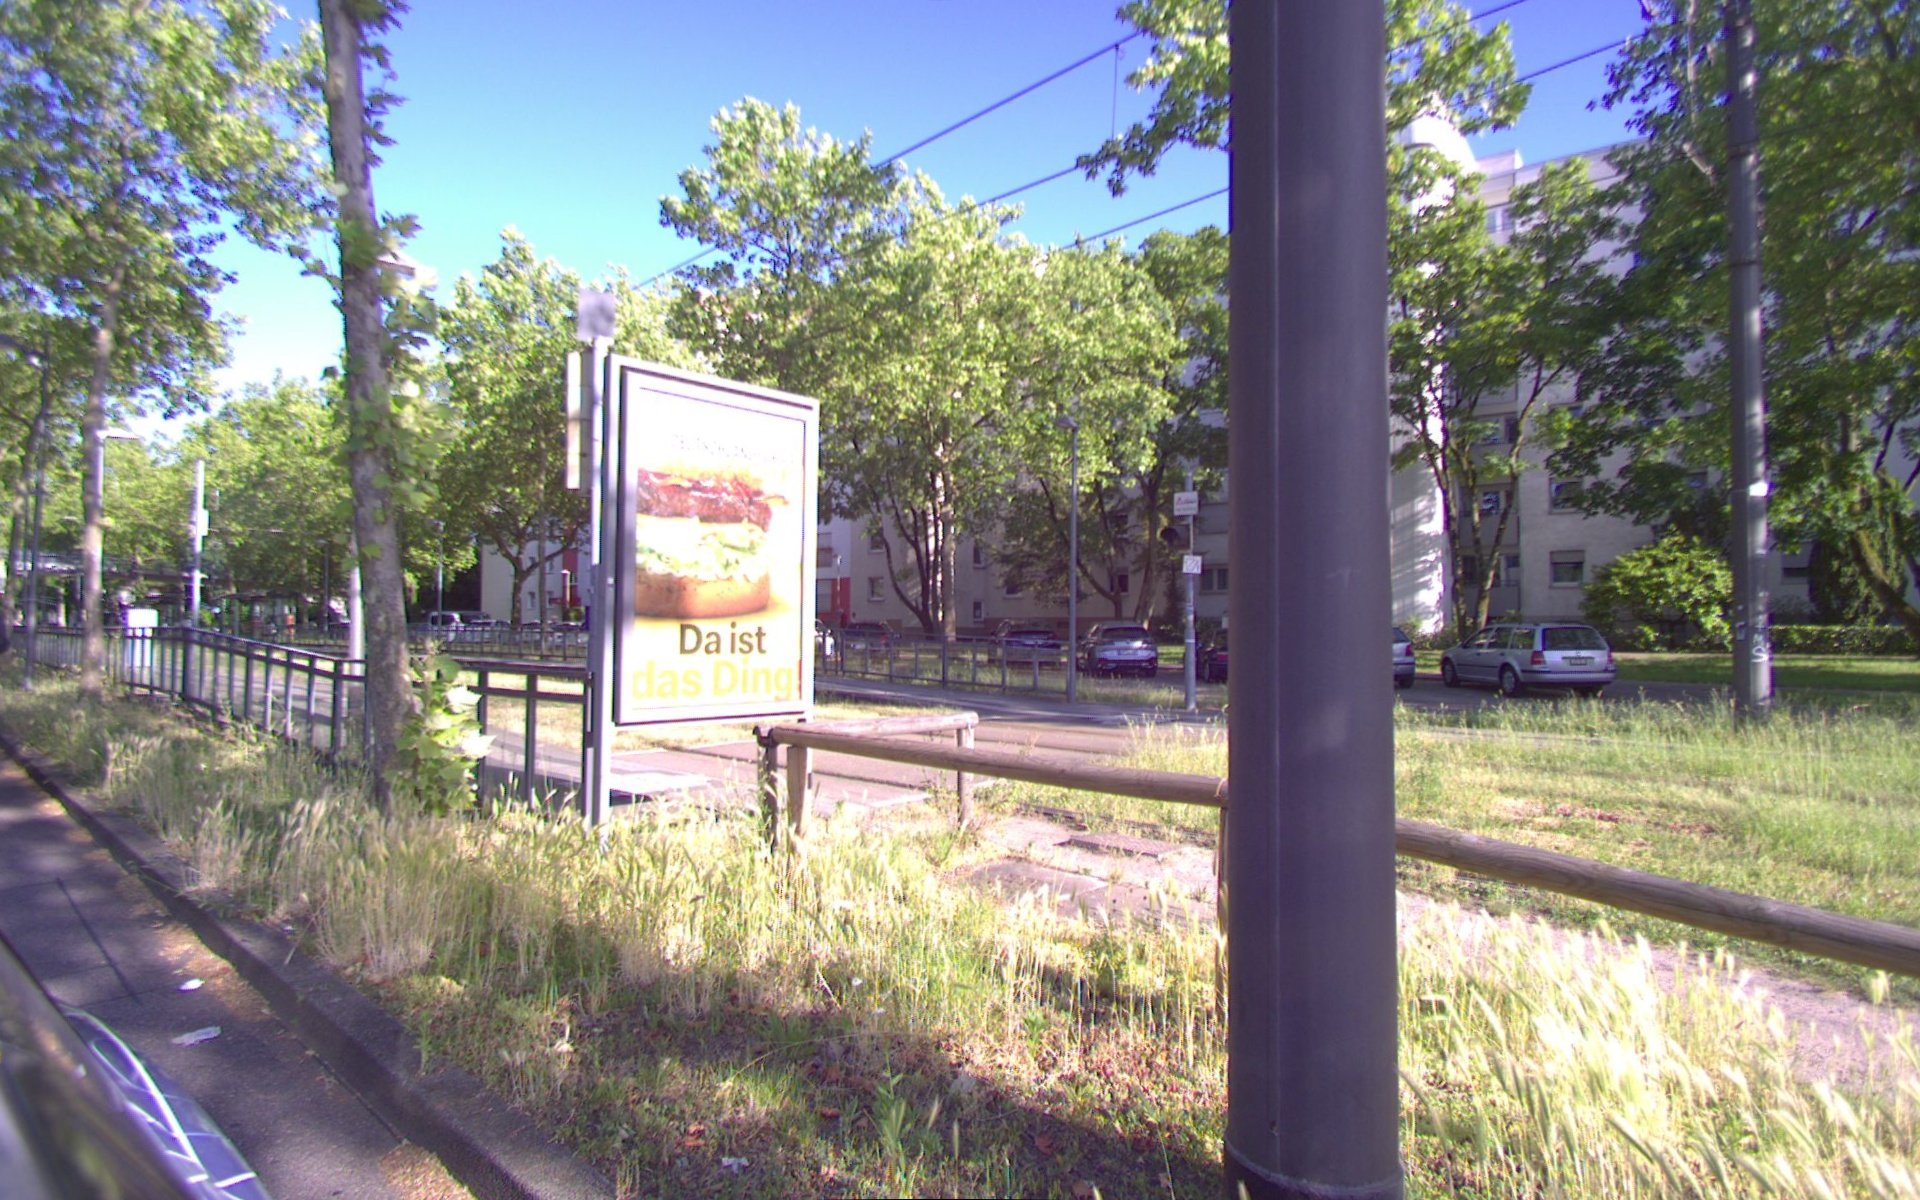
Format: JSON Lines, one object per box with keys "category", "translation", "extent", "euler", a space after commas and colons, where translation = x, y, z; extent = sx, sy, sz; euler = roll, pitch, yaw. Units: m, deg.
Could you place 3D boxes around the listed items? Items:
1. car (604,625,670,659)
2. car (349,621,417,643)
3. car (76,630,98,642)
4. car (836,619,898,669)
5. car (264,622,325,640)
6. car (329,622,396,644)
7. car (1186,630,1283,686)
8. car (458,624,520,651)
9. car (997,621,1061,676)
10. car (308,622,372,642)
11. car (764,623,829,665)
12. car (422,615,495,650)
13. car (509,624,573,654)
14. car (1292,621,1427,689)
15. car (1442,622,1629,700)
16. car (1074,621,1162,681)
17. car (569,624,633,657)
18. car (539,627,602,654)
{"category": "car", "translation": [-14.075, 1.815, 44.275], "extent": [1.627, 1.403, 3.679], "euler": [0, -1, 2]}
{"category": "car", "translation": [-37.947, 2.088, 66.673], "extent": [1.898, 1.386, 4.365], "euler": [0, -1, 1]}
{"category": "car", "translation": [-108.889, 4.469, 126.219], "extent": [3.294, 1.370, 1.651], "euler": [-1, -2, 41]}
{"category": "car", "translation": [-3.100, 1.455, 34.463], "extent": [1.664, 1.579, 3.679], "euler": [0, -1, 2]}
{"category": "car", "translation": [-52.137, 2.398, 79.360], "extent": [1.898, 1.386, 4.365], "euler": [0, -1, 1]}
{"category": "car", "translation": [-40.274, 2.199, 68.387], "extent": [1.898, 1.386, 4.365], "euler": [0, -1, 1]}
{"category": "car", "translation": [6.737, 1.398, 25.201], "extent": [1.602, 1.256, 3.677], "euler": [0, -1, 4]}
{"category": "car", "translation": [-25.790, 2.030, 55.514], "extent": [1.627, 1.407, 3.680], "euler": [0, -1, 1]}
{"category": "car", "translation": [1.941, 1.365, 29.440], "extent": [1.664, 1.482, 3.680], "euler": [0, -1, 1]}
{"category": "car", "translation": [-44.636, 2.276, 72.980], "extent": [1.898, 1.386, 4.365], "euler": [0, -1, 1]}
{"category": "car", "translation": [-5.901, 1.568, 36.913], "extent": [1.664, 1.444, 3.679], "euler": [0, -1, 2]}
{"category": "car", "translation": [-28.318, 1.821, 57.323], "extent": [1.898, 1.898, 4.365], "euler": [0, -1, 1]}
{"category": "car", "translation": [-21.115, 1.955, 51.129], "extent": [1.627, 1.460, 3.680], "euler": [0, -1, 1]}
{"category": "car", "translation": [9.161, 1.217, 23.522], "extent": [1.679, 1.444, 3.681], "euler": [0, -1, 1]}
{"category": "car", "translation": [11.555, 1.174, 20.623], "extent": [1.707, 1.444, 3.681], "euler": [0, -1, 1]}
{"category": "car", "translation": [4.214, 1.343, 27.487], "extent": [1.894, 1.507, 3.680], "euler": [0, -1, 2]}
{"category": "car", "translation": [-16.674, 1.838, 47.131], "extent": [1.627, 1.460, 3.680], "euler": [0, -1, 1]}
{"category": "car", "translation": [-19.038, 1.976, 49.661], "extent": [1.627, 1.251, 3.680], "euler": [0, -1, 1]}
